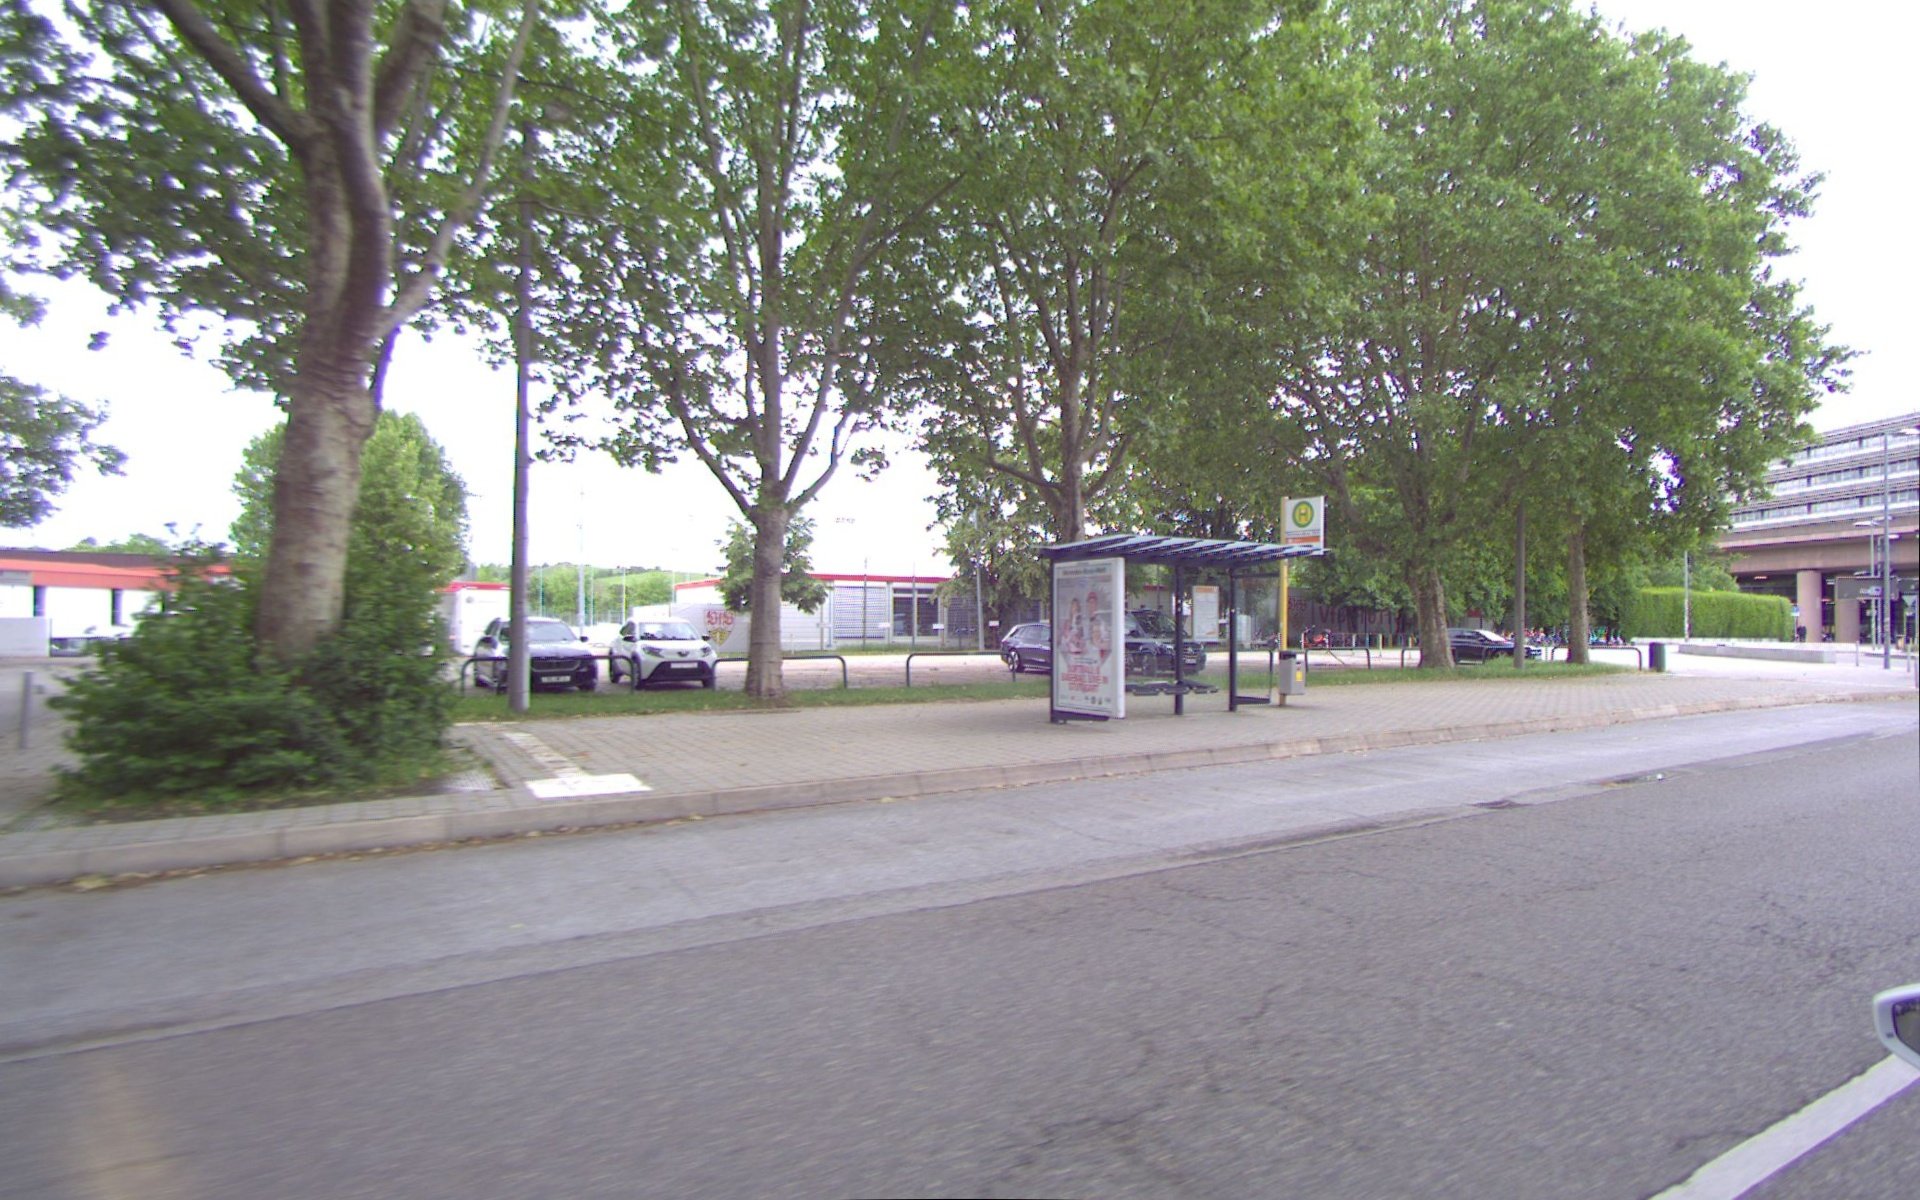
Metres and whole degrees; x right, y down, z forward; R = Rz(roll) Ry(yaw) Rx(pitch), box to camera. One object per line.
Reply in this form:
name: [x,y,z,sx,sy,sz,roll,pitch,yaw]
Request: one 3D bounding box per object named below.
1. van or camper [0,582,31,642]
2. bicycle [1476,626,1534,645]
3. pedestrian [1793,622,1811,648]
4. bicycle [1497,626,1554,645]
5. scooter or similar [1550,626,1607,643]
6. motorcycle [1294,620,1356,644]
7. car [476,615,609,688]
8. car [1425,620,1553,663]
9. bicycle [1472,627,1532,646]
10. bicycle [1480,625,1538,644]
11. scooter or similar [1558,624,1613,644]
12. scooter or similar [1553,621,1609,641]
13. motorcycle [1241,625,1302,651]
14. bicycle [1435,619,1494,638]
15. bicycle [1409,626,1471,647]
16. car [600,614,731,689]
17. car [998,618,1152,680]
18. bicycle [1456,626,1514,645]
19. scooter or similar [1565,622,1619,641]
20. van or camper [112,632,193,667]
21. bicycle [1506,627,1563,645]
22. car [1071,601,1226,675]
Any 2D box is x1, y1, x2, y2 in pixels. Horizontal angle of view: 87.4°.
van or camper: [-34.687,0.358,33.392,5.245,2.040,1.982,1,-1,-33]
bicycle: [34.346,2.231,63.326,3.147,1.112,0.769,0,-1,44]
pedestrian: [67.008,2.749,79.929,0.595,2.040,1.033,1,-1,-42]
bicycle: [36.427,2.291,64.750,3.147,1.112,0.769,0,-1,44]
scooter or similar: [41.435,2.292,67.356,3.147,1.112,0.769,0,-1,44]
motorcycle: [19.306,1.675,53.263,0.762,1.238,3.650,1,-1,-24]
car: [-8.832,1.017,21.064,1.979,1.341,3.966,1,-1,-31]
car: [20.894,1.624,39.766,2.214,1.626,3.955,2,-2,-39]
bicycle: [33.638,2.273,62.390,3.148,1.111,0.769,-2,-3,44]
bicycle: [35.054,2.203,64.147,3.147,1.112,0.769,0,-1,44]
scooter or similar: [42.854,2.310,68.848,3.147,1.266,0.769,0,-1,44]
scooter or similar: [42.066,2.069,68.060,3.147,1.266,0.769,0,-1,44]
motorcycle: [15.858,1.906,51.247,0.762,1.238,3.650,1,-1,-24]
bicycle: [30.671,1.735,61.135,3.148,1.112,0.768,0,-1,45]
bicycle: [27.753,2.110,58.150,3.148,1.112,0.768,0,-1,45]
car: [-6.798,1.109,22.933,1.979,1.543,3.967,1,-1,-30]
car: [3.172,1.345,28.704,2.083,1.588,4.607,2,-2,-28]
bicycle: [32.479,2.208,62.196,3.148,1.112,0.769,-1,-2,44]
scooter or similar: [44.528,2.236,70.801,3.147,1.266,0.769,0,-1,44]
van or camper: [-51.280,3.126,63.813,3.919,2.040,2.001,1,-1,13]
bicycle: [37.407,2.356,65.446,3.147,1.112,0.769,0,-1,44]
car: [5.581,1.089,30.395,2.235,2.052,4.597,1,-1,-28]
